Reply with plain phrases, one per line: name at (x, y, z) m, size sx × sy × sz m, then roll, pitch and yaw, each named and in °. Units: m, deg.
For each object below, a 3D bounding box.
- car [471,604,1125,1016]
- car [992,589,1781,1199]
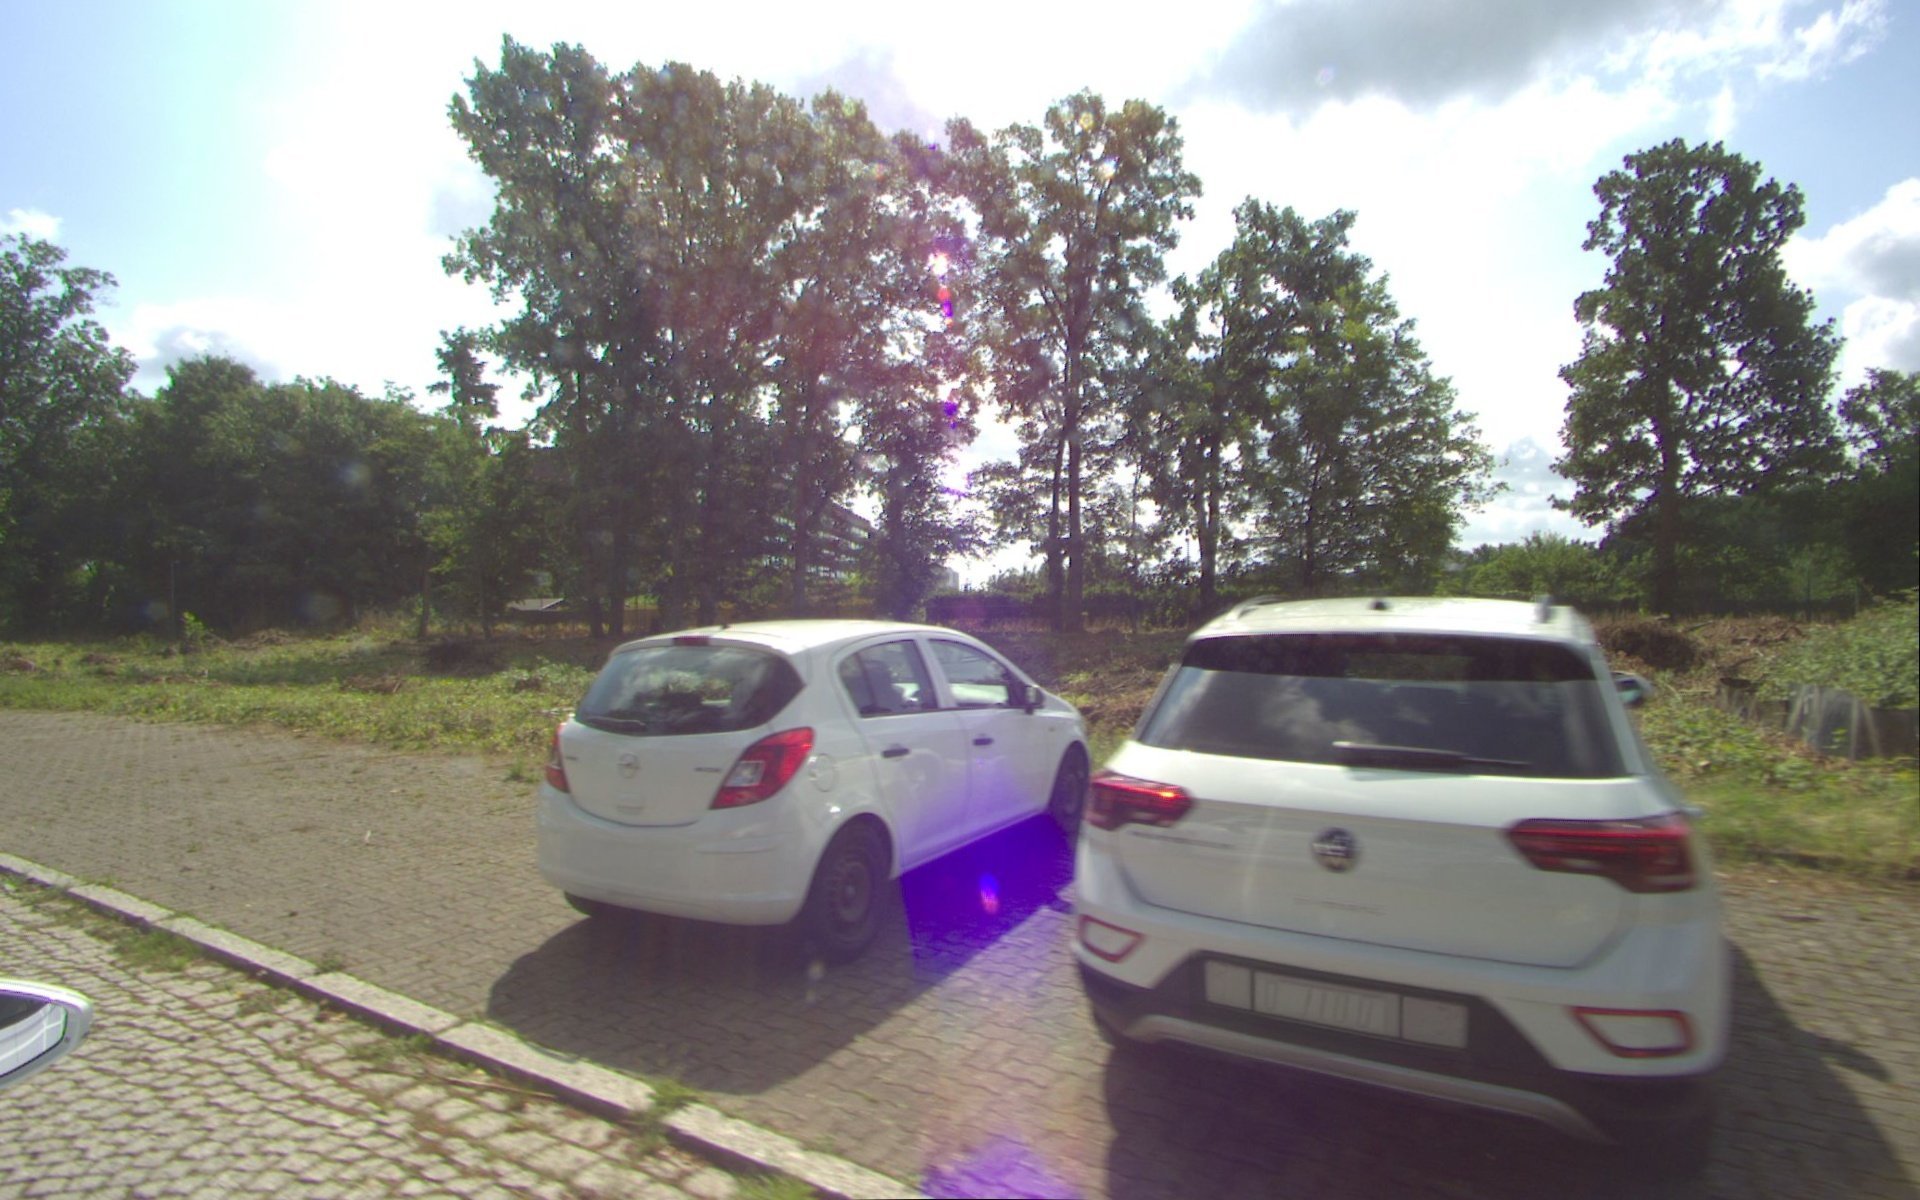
car at (-0.522, 0.817, 5.963) m, size 1.678 × 1.483 × 4.036 m, roll -1°, pitch 1°, yaw 29°
car at (1.821, 0.750, 4.108) m, size 1.720 × 1.527 × 3.981 m, roll -1°, pitch 1°, yaw 29°
